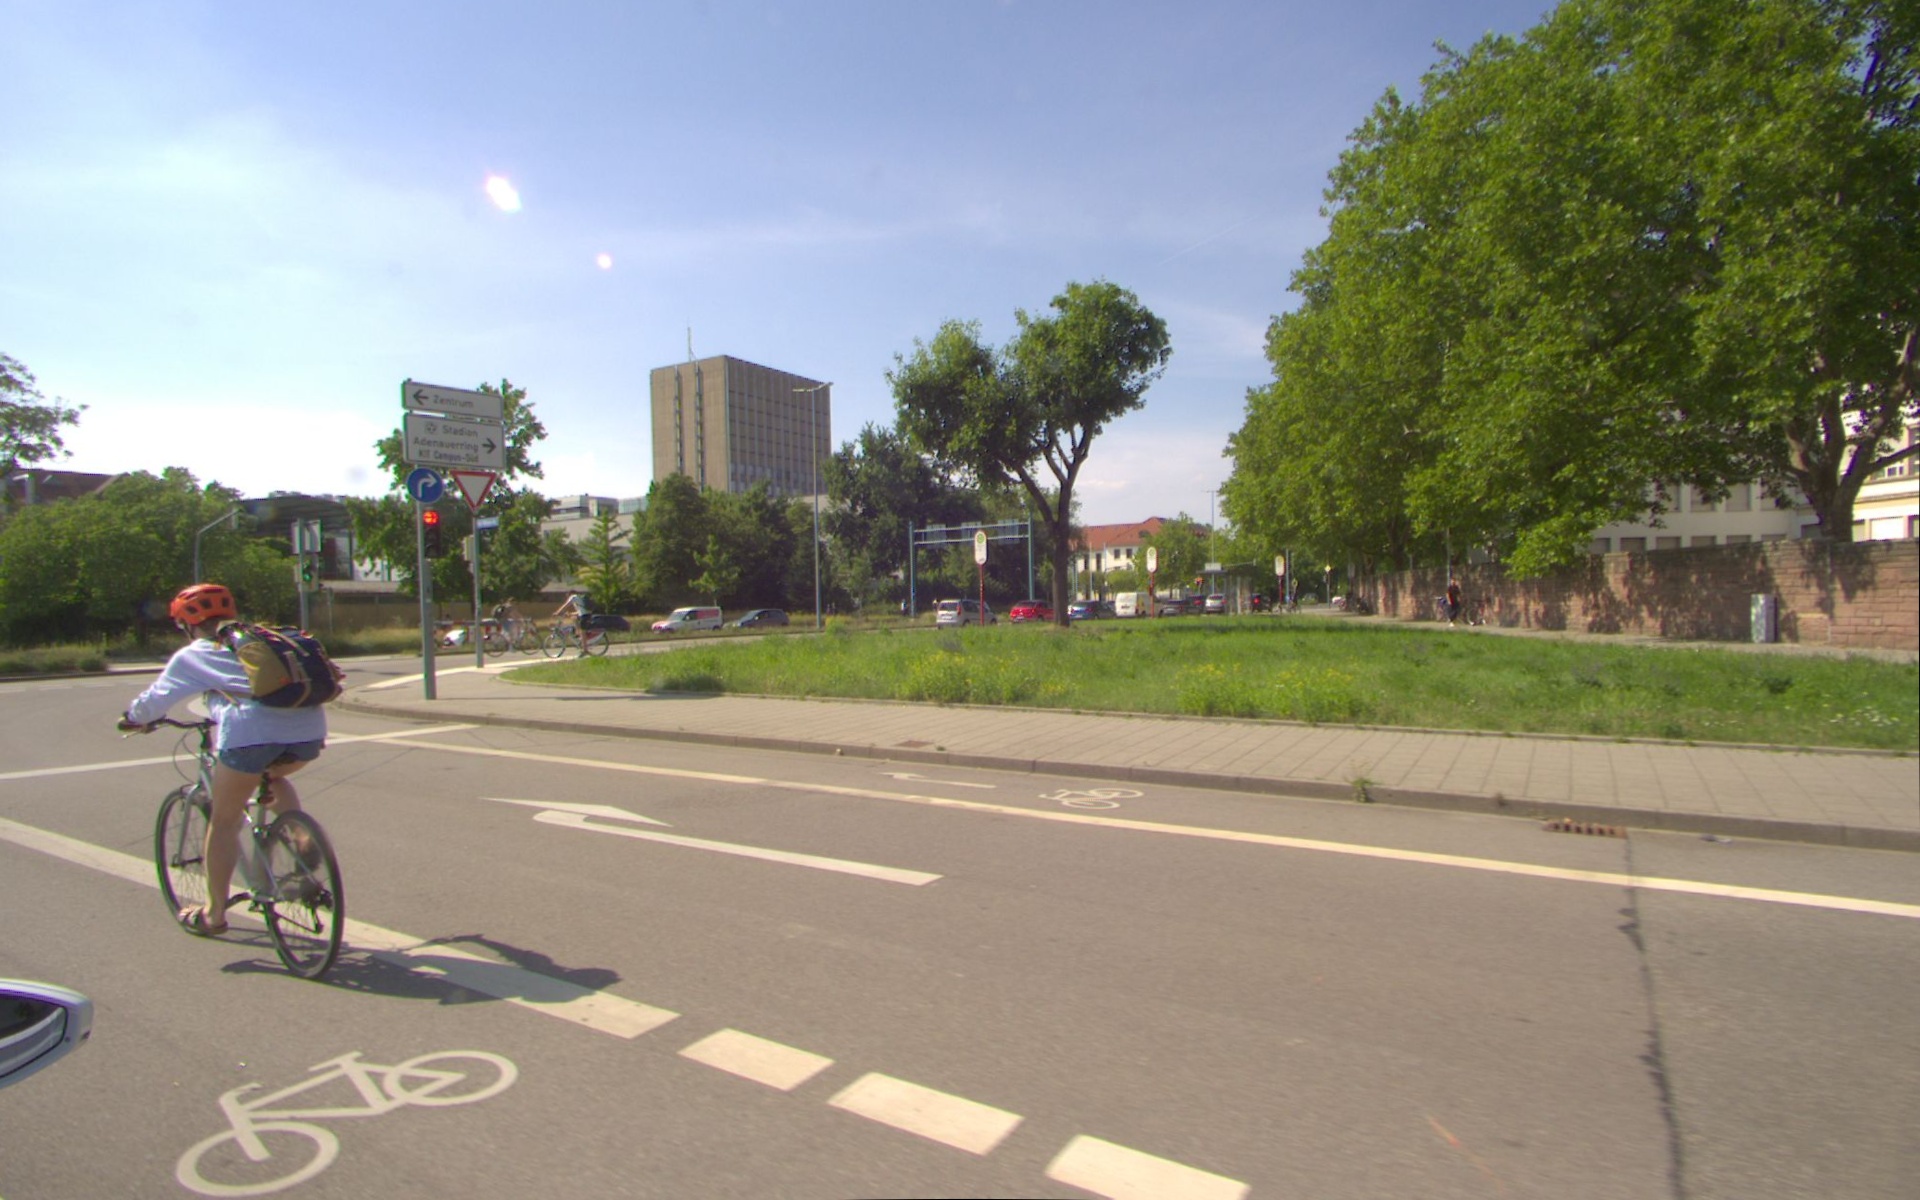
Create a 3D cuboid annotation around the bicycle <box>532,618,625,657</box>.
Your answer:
[{"bbox_3d":[-9.915,0.971,26.082,2.128,0.928,0.674,-1,1,-11],"label":"bicycle"}]

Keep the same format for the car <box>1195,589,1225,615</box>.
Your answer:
[{"bbox_3d":[20.617,0.126,82.475,1.965,2.040,3.991,-1,1,19],"label":"car"}]

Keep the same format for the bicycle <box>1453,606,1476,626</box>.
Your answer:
[{"bbox_3d":[19.590,0.617,38.908,0.334,0.738,1.364,-1,1,5],"label":"bicycle"}]

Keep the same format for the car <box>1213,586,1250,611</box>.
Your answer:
[{"bbox_3d":[23.531,-0.118,86.675,1.973,2.040,3.976,-1,1,34],"label":"car"}]

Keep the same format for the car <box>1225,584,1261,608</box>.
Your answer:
[{"bbox_3d":[25.414,-0.380,89.972,1.973,2.040,3.976,-1,1,34],"label":"car"}]

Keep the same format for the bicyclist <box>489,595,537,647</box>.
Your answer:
[{"bbox_3d":[-13.202,0.615,29.576,0.558,1.494,1.158,0,1,44],"label":"bicyclist"}]

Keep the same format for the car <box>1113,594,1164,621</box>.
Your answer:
[{"bbox_3d":[12.329,0.499,69.103,1.729,1.781,4.403,0,1,36],"label":"car"}]

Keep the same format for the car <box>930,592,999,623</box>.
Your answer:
[{"bbox_3d":[0.276,0.361,52.049,1.727,1.528,3.978,-1,1,32],"label":"car"}]

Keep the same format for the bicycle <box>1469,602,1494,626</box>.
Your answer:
[{"bbox_3d":[19.494,0.520,37.443,0.365,0.867,1.307,-1,1,7],"label":"bicycle"}]

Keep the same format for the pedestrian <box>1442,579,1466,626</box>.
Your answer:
[{"bbox_3d":[18.815,0.111,38.135,0.608,1.763,0.599,-1,1,3],"label":"pedestrian"}]

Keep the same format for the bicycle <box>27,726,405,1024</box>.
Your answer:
[{"bbox_3d":[-3.326,1.100,4.413,1.998,0.943,0.595,-1,-1,30],"label":"bicycle"}]

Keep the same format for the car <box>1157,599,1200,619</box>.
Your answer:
[{"bbox_3d":[16.330,0.639,74.861,1.729,1.357,3.973,-1,1,36],"label":"car"}]

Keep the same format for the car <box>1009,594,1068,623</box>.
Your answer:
[{"bbox_3d":[4.534,0.528,57.565,1.727,1.527,3.981,-1,-3,32],"label":"car"}]

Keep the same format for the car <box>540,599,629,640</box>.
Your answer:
[{"bbox_3d":[-19.707,0.992,52.692,1.973,2.041,3.975,-1,1,34],"label":"car"}]

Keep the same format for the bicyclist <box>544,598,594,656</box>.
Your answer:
[{"bbox_3d":[-10.165,0.707,26.038,1.121,1.489,0.496,-1,-1,-9],"label":"bicyclist"}]

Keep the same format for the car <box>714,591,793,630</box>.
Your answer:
[{"bbox_3d":[-11.645,0.584,56.708,1.976,2.040,3.971,-3,-1,37],"label":"car"}]

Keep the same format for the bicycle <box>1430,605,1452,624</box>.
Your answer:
[{"bbox_3d":[19.617,0.594,40.829,0.334,0.738,1.364,-1,1,5],"label":"bicycle"}]

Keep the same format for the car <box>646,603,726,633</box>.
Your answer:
[{"bbox_3d":[-15.716,1.002,57.682,1.883,1.590,4.301,-1,1,32],"label":"car"}]

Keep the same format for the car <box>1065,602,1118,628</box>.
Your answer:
[{"bbox_3d":[8.385,0.936,63.613,1.729,1.494,3.973,-1,1,36],"label":"car"}]

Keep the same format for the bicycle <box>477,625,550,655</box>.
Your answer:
[{"bbox_3d":[-13.182,1.170,29.606,0.554,0.803,1.878,1,2,44],"label":"bicycle"}]

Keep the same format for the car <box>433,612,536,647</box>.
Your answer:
[{"bbox_3d":[-22.604,1.388,47.767,1.972,1.483,3.978,-2,0,32],"label":"car"}]

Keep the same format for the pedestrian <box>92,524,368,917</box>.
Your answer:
[{"bbox_3d":[-3.123,0.469,4.286,0.998,1.485,0.582,-1,0,29],"label":"pedestrian"}]
